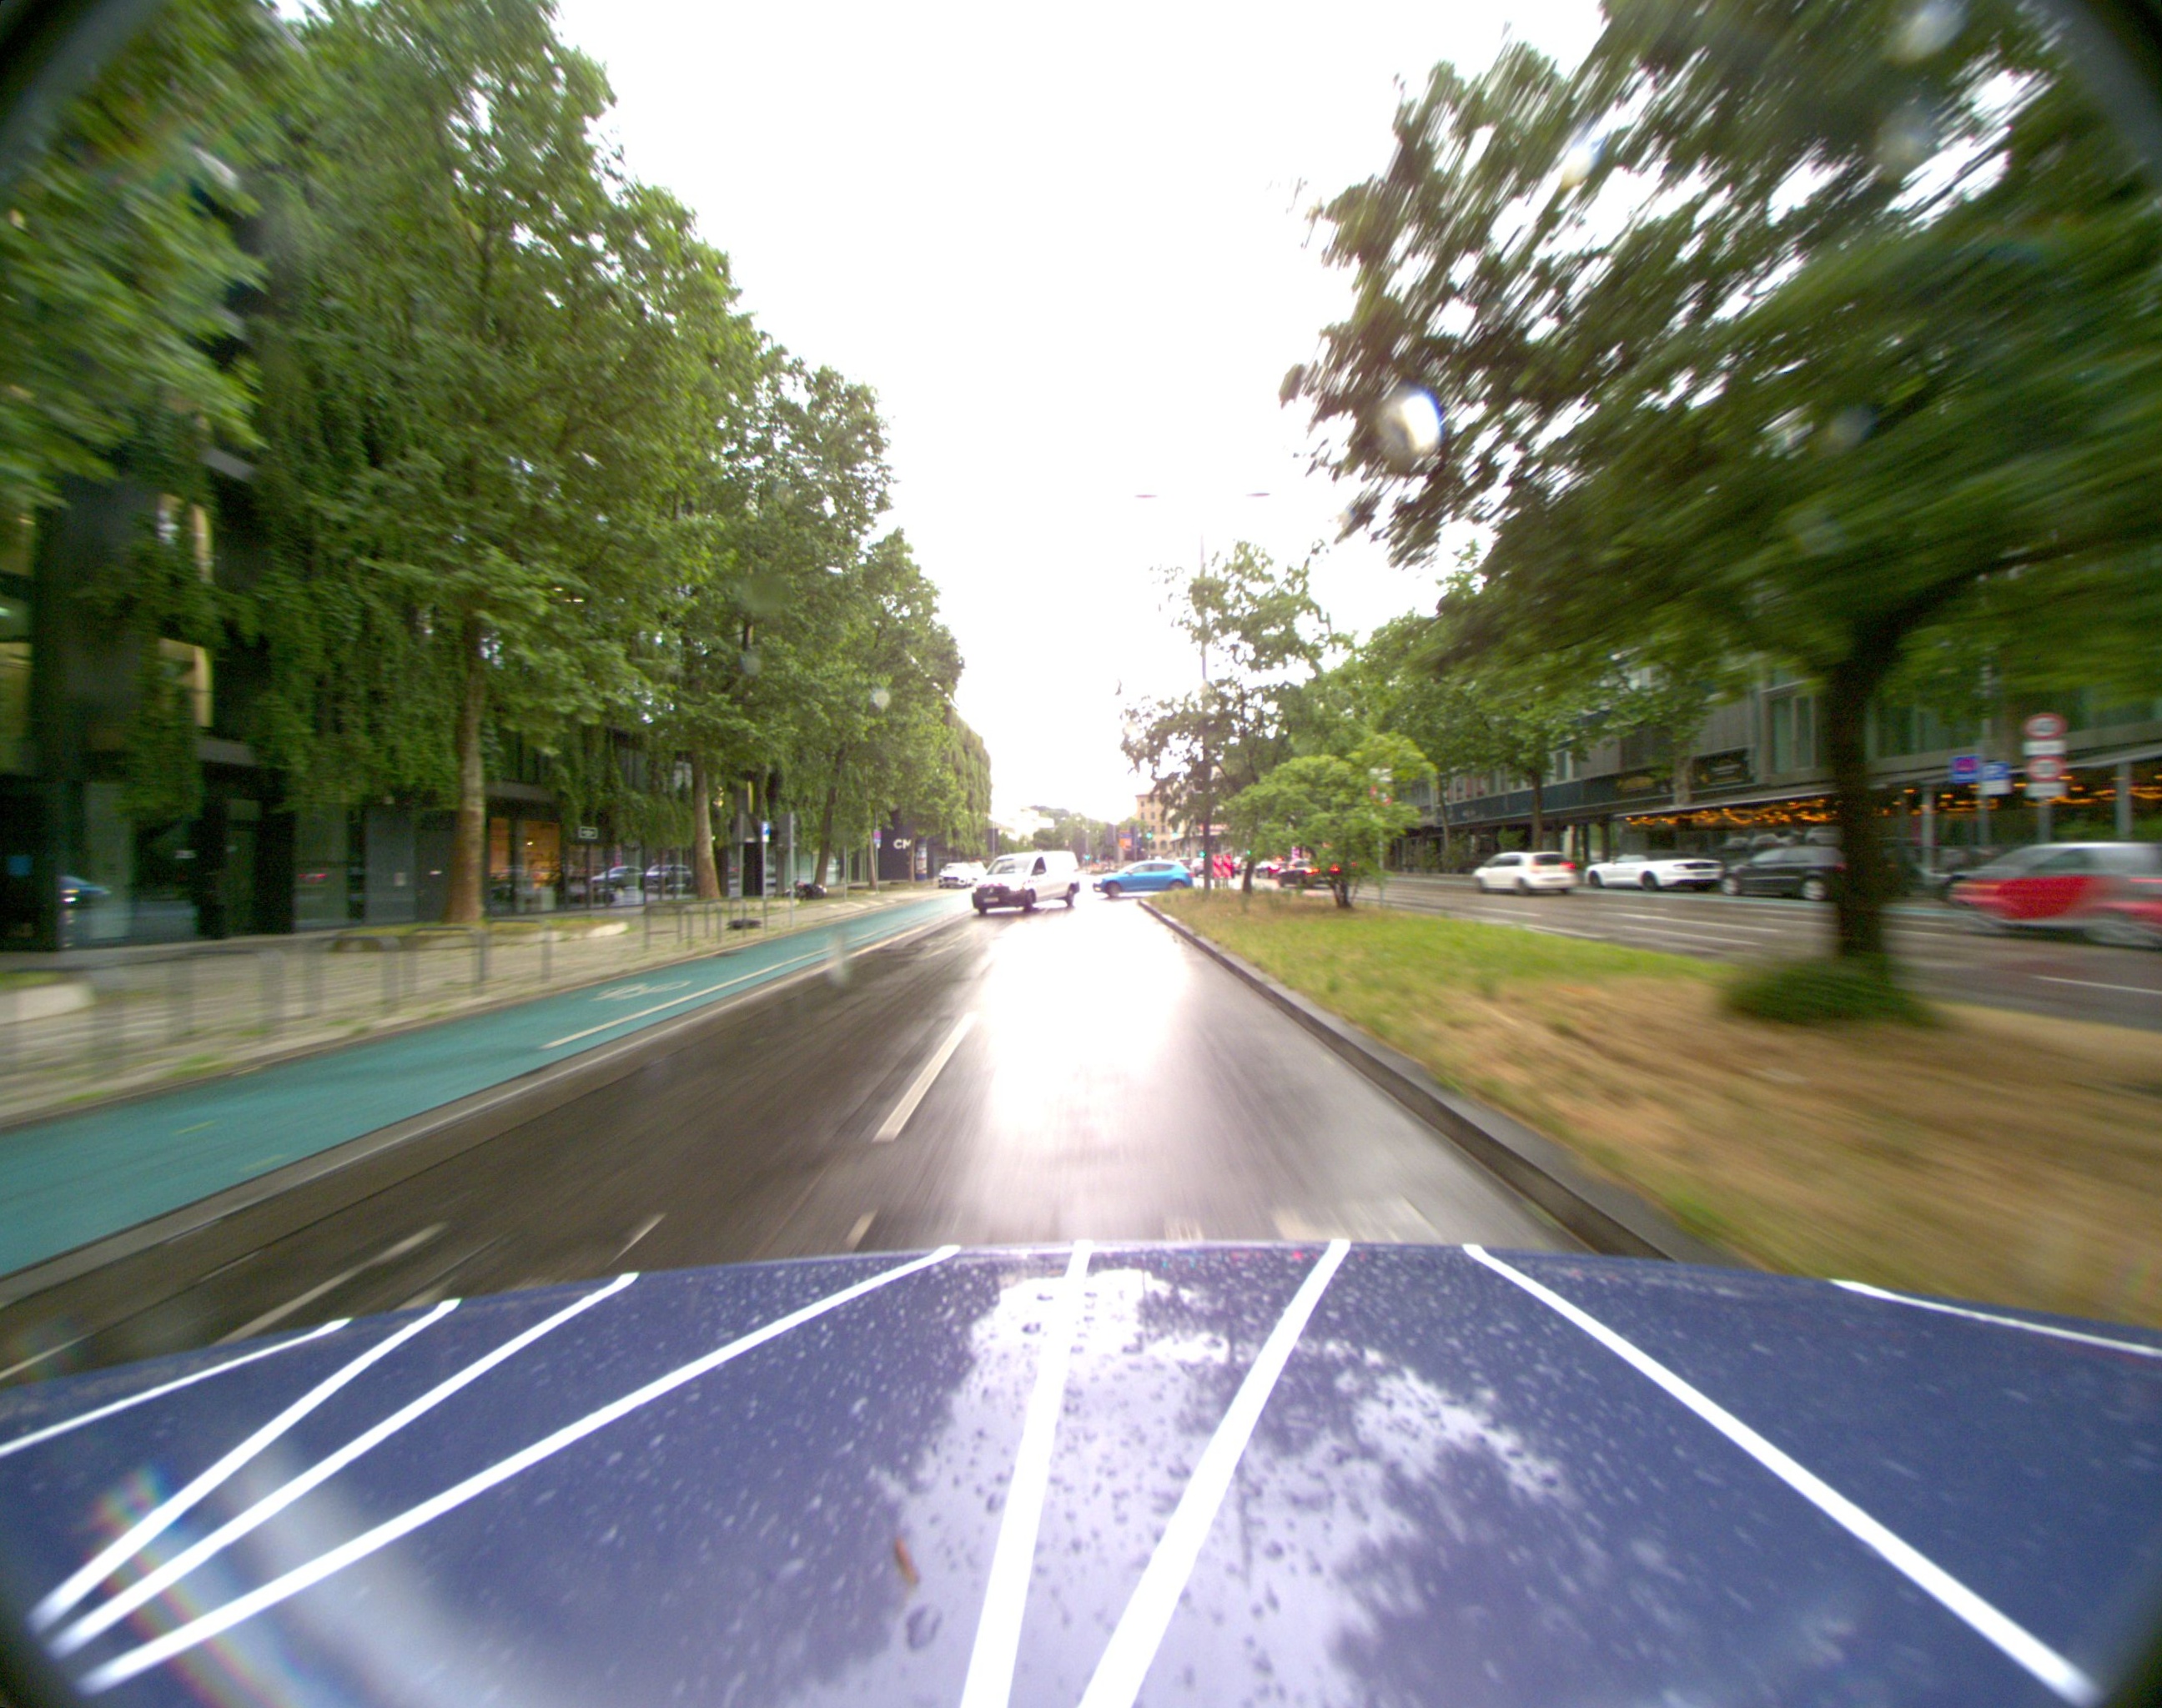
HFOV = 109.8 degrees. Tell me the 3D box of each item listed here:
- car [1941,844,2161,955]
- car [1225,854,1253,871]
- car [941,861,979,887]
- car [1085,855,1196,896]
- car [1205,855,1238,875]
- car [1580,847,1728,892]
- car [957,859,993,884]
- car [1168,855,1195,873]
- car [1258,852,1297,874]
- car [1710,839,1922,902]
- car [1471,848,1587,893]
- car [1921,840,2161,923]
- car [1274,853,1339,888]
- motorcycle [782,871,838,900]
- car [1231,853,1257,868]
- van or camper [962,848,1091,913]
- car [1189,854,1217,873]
[{"bbox_3d":[15.095,0.599,11.318,1.497,1.454,2.732,-1,0,1],"label":"car"},{"bbox_3d":[14.135,0.752,68.139,1.723,1.482,4.570,-1,0,2],"label":"car"},{"bbox_3d":[-8.276,1.355,52.346,1.848,1.623,4.787,-1,-1,0],"label":"car"},{"bbox_3d":[2.467,0.906,31.711,4.391,1.473,1.850,-2,-1,4],"label":"car"},{"bbox_3d":[10.699,0.831,58.149,1.754,1.467,4.096,-1,0,0],"label":"car"},{"bbox_3d":[19.549,0.529,26.227,1.563,1.345,4.683,-2,-1,0],"label":"car"},{"bbox_3d":[-8.100,1.332,58.540,1.848,1.827,5.095,0,-1,2],"label":"car"},{"bbox_3d":[10.049,0.994,76.492,1.840,1.756,5.108,-1,-1,-2],"label":"car"},{"bbox_3d":[13.994,0.648,54.274,1.754,1.467,4.096,-1,0,0],"label":"car"},{"bbox_3d":[19.645,0.422,20.589,1.841,1.499,4.000,-1,-1,0],"label":"car"},{"bbox_3d":[15.505,0.554,26.518,1.848,1.420,3.643,-1,-1,0],"label":"car"},{"bbox_3d":[19.281,0.474,14.430,1.697,1.400,4.456,-1,-1,0],"label":"car"},{"bbox_3d":[10.803,0.764,36.676,1.753,1.467,4.095,-3,1,-1],"label":"car"},{"bbox_3d":[-13.235,1.534,37.198,2.313,1.263,1.052,-3,0,-1],"label":"motorcycle"},{"bbox_3d":[17.209,0.674,80.323,1.757,1.556,4.000,-1,0,-1],"label":"car"},{"bbox_3d":[-1.692,0.843,25.756,1.995,1.902,5.260,-4,-2,24],"label":"van or camper"},{"bbox_3d":[10.675,0.860,66.789,1.739,1.564,4.832,-1,-1,0],"label":"car"}]
